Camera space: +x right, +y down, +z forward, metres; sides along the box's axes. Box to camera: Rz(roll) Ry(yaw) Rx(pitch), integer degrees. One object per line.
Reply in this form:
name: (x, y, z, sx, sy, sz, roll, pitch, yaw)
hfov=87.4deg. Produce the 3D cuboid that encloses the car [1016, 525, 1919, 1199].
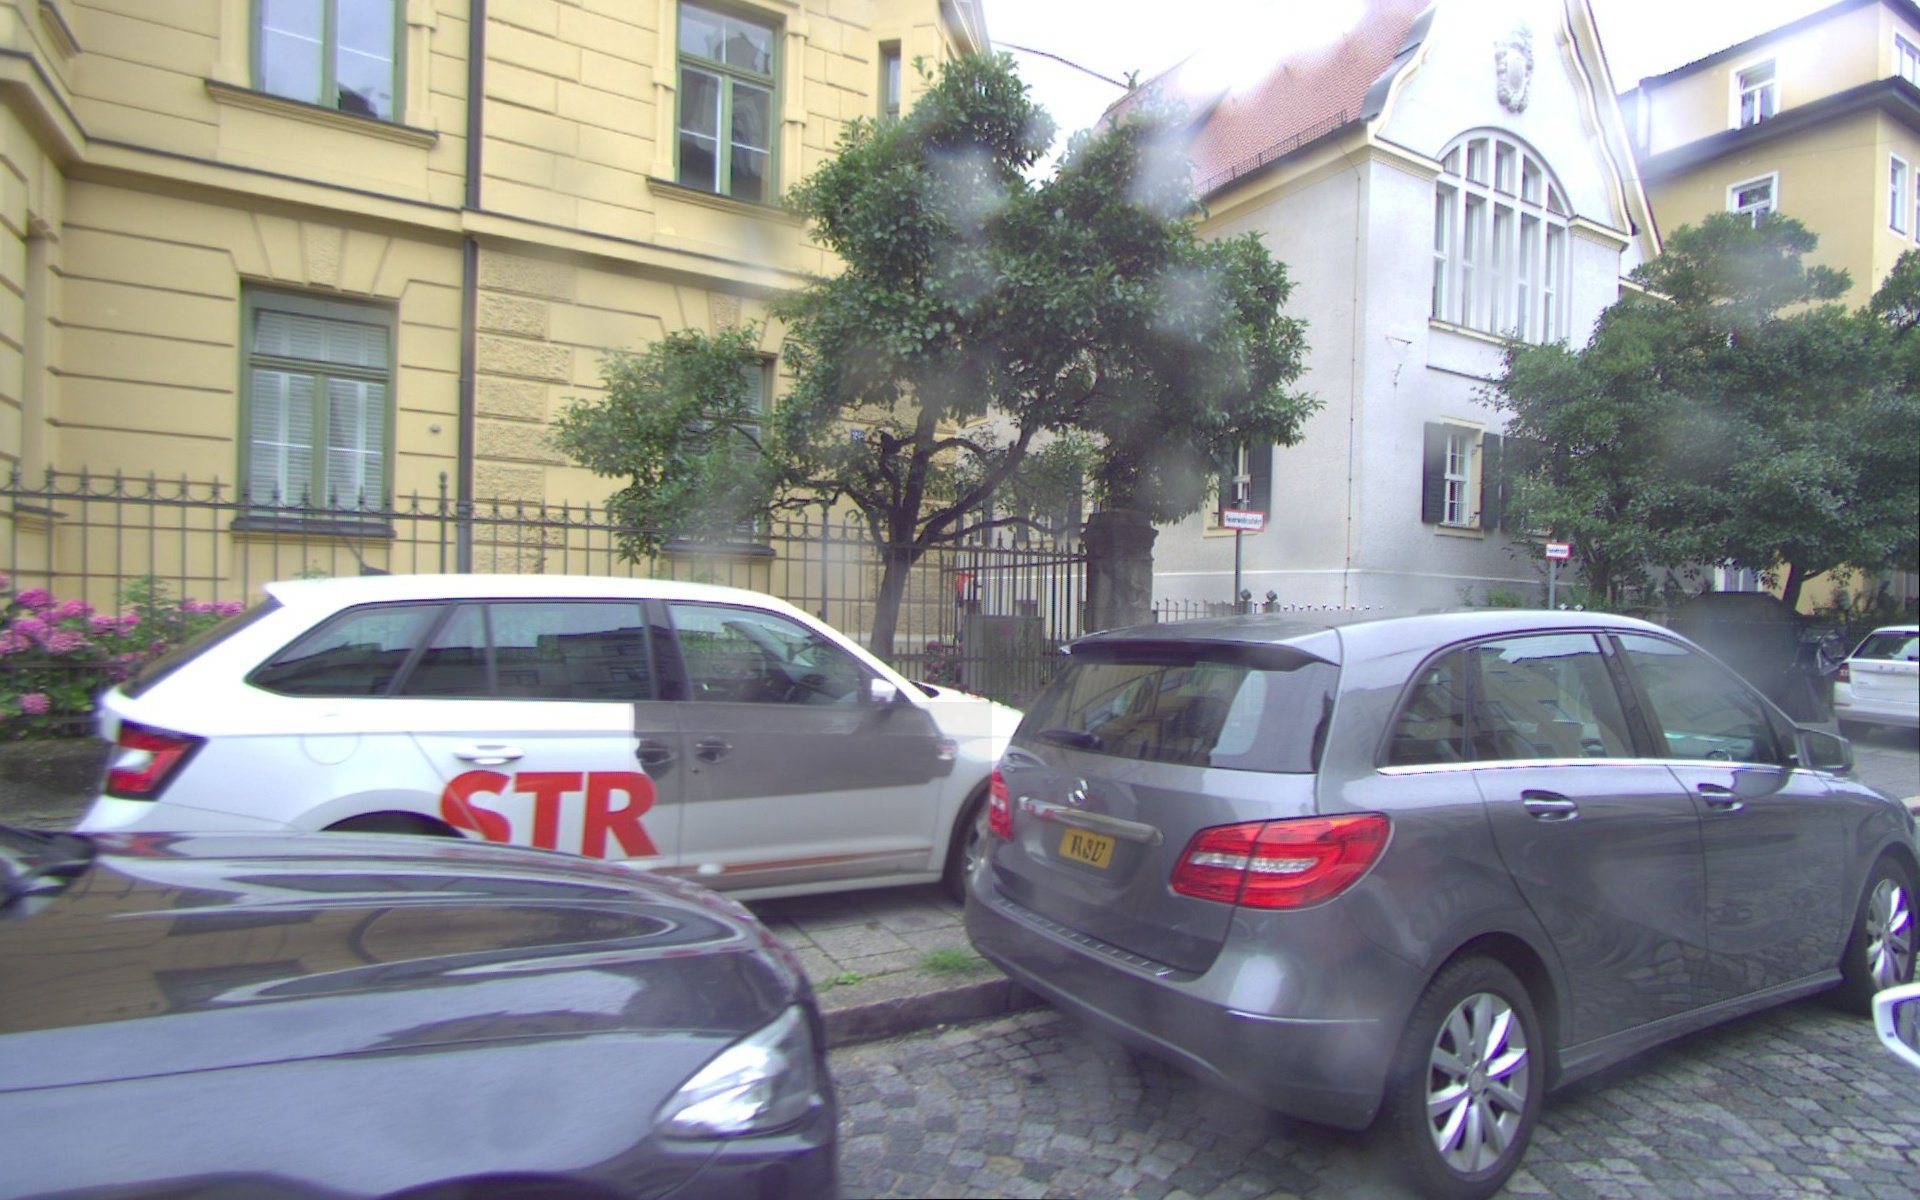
car: (2.410, 0.698, 4.111, 4.147, 1.607, 1.730, 2, -1, -33)

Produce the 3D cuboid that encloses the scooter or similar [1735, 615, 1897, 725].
scooter or similar: (13.051, 1.023, 15.298, 2.603, 1.543, 1.057, 1, 0, -30)

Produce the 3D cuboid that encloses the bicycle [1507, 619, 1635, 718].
bicycle: (8.539, 0.931, 14.014, 2.036, 1.275, 0.603, 1, 0, -30)

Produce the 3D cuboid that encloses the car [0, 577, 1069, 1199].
car: (-2.463, 0.702, 1.085, 5.076, 1.489, 1.860, 2, -1, -32)

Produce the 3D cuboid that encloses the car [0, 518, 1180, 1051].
car: (-1.259, 0.544, 4.664, 4.337, 1.485, 1.833, 2, 1, -30)

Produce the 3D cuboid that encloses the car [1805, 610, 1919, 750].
car: (12.784, 0.988, 12.772, 4.415, 1.557, 1.731, 2, 1, -31)
